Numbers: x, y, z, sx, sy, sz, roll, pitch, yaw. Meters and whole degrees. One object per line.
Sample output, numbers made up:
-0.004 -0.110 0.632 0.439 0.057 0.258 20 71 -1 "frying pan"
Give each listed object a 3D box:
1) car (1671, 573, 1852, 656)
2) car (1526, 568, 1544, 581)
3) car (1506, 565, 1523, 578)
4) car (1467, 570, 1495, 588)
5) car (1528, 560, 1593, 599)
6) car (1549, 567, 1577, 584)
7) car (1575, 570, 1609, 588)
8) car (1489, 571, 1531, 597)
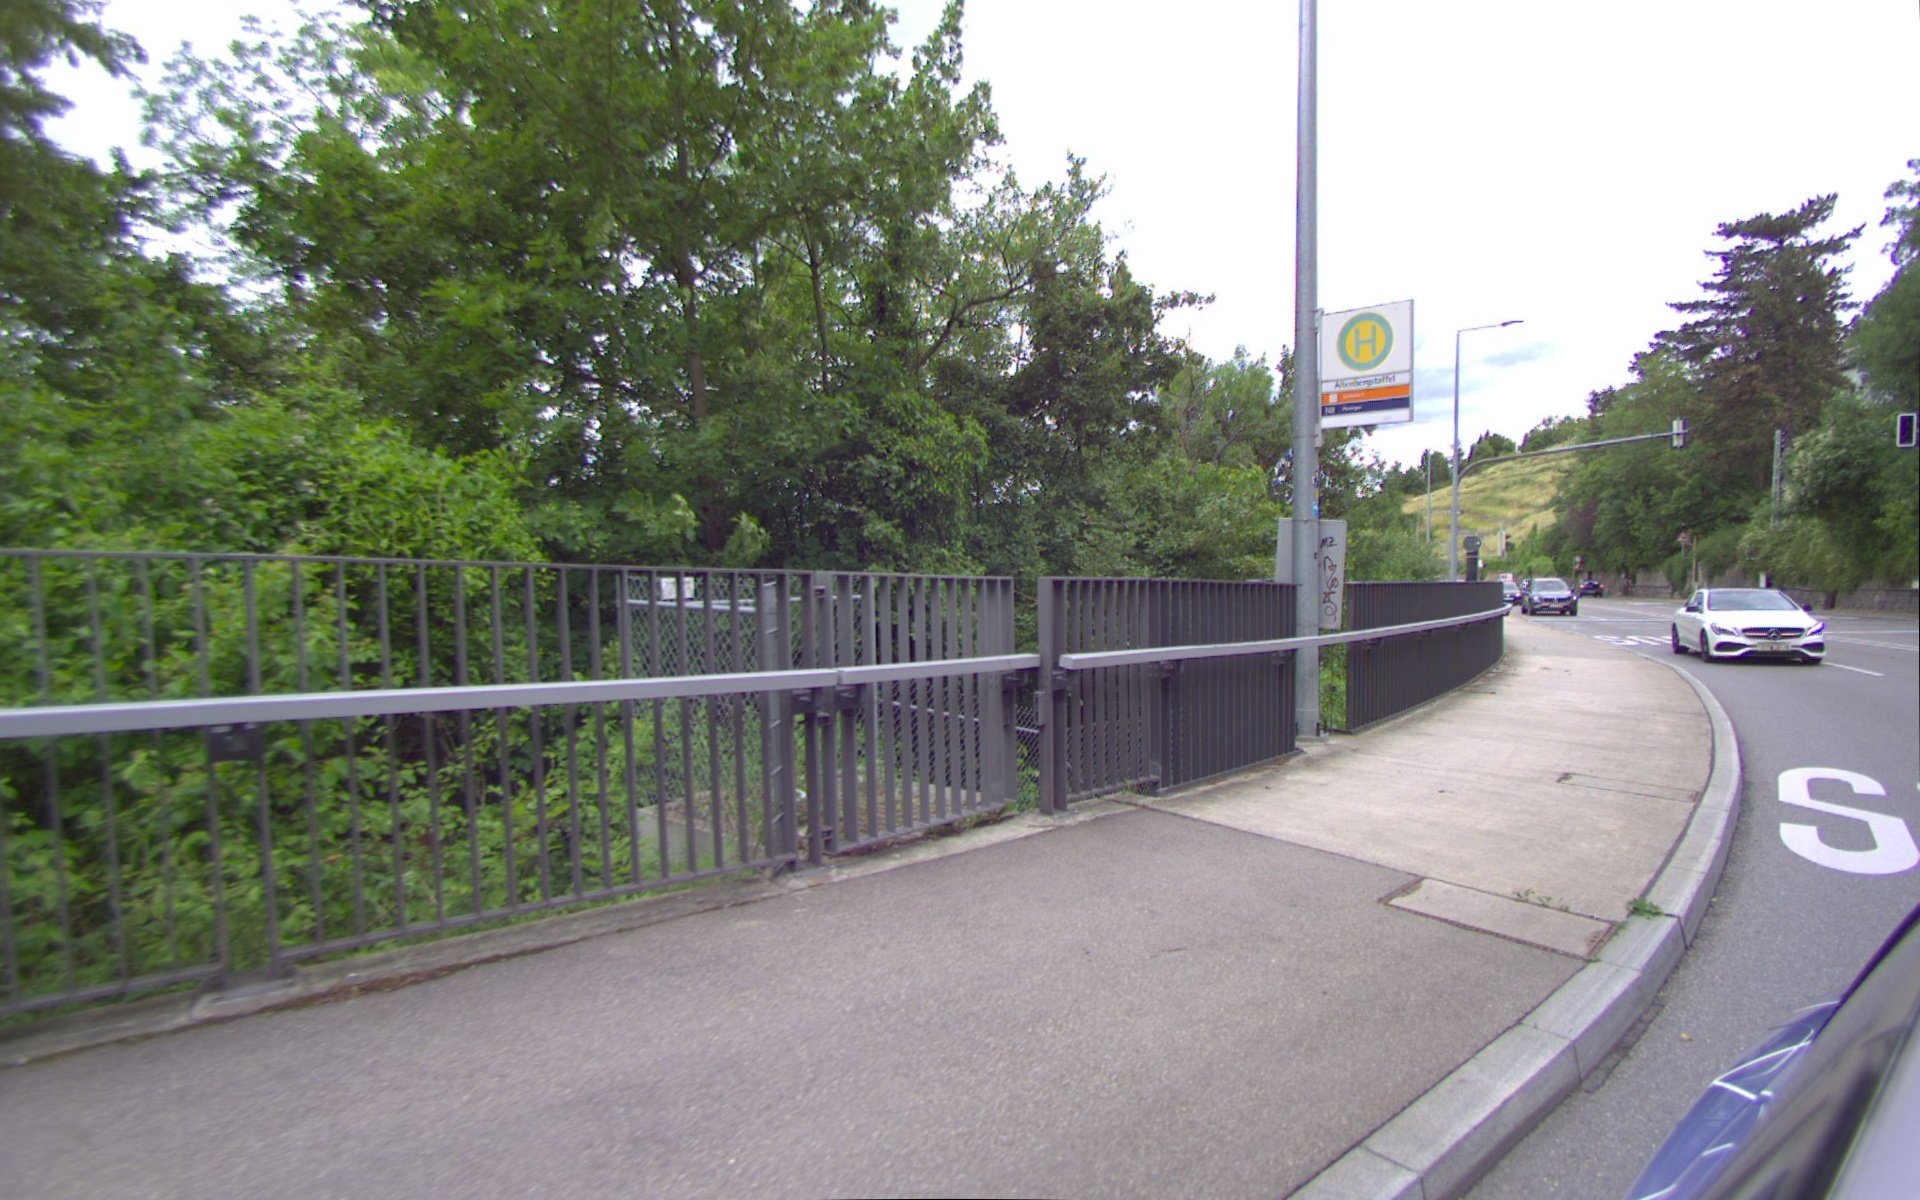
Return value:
15.718 0.267 20.110 1.885 1.445 4.227 -1 0 26 "car"
71.680 -3.164 126.108 1.665 1.460 4.194 -2 0 27 "car"
85.099 -4.384 155.405 1.907 2.030 5.312 -1 1 24 "car"
47.197 -1.885 91.755 1.979 1.603 3.967 0 1 24 "car"
26.646 -0.923 45.041 1.978 1.609 3.967 -2 1 25 "car"
58.959 -2.369 98.946 1.767 1.501 4.177 -2 0 24 "car"
52.626 -1.762 84.363 1.799 1.452 4.213 -2 1 25 "car"
34.265 -1.007 63.128 1.979 1.603 3.967 0 1 24 "car"
